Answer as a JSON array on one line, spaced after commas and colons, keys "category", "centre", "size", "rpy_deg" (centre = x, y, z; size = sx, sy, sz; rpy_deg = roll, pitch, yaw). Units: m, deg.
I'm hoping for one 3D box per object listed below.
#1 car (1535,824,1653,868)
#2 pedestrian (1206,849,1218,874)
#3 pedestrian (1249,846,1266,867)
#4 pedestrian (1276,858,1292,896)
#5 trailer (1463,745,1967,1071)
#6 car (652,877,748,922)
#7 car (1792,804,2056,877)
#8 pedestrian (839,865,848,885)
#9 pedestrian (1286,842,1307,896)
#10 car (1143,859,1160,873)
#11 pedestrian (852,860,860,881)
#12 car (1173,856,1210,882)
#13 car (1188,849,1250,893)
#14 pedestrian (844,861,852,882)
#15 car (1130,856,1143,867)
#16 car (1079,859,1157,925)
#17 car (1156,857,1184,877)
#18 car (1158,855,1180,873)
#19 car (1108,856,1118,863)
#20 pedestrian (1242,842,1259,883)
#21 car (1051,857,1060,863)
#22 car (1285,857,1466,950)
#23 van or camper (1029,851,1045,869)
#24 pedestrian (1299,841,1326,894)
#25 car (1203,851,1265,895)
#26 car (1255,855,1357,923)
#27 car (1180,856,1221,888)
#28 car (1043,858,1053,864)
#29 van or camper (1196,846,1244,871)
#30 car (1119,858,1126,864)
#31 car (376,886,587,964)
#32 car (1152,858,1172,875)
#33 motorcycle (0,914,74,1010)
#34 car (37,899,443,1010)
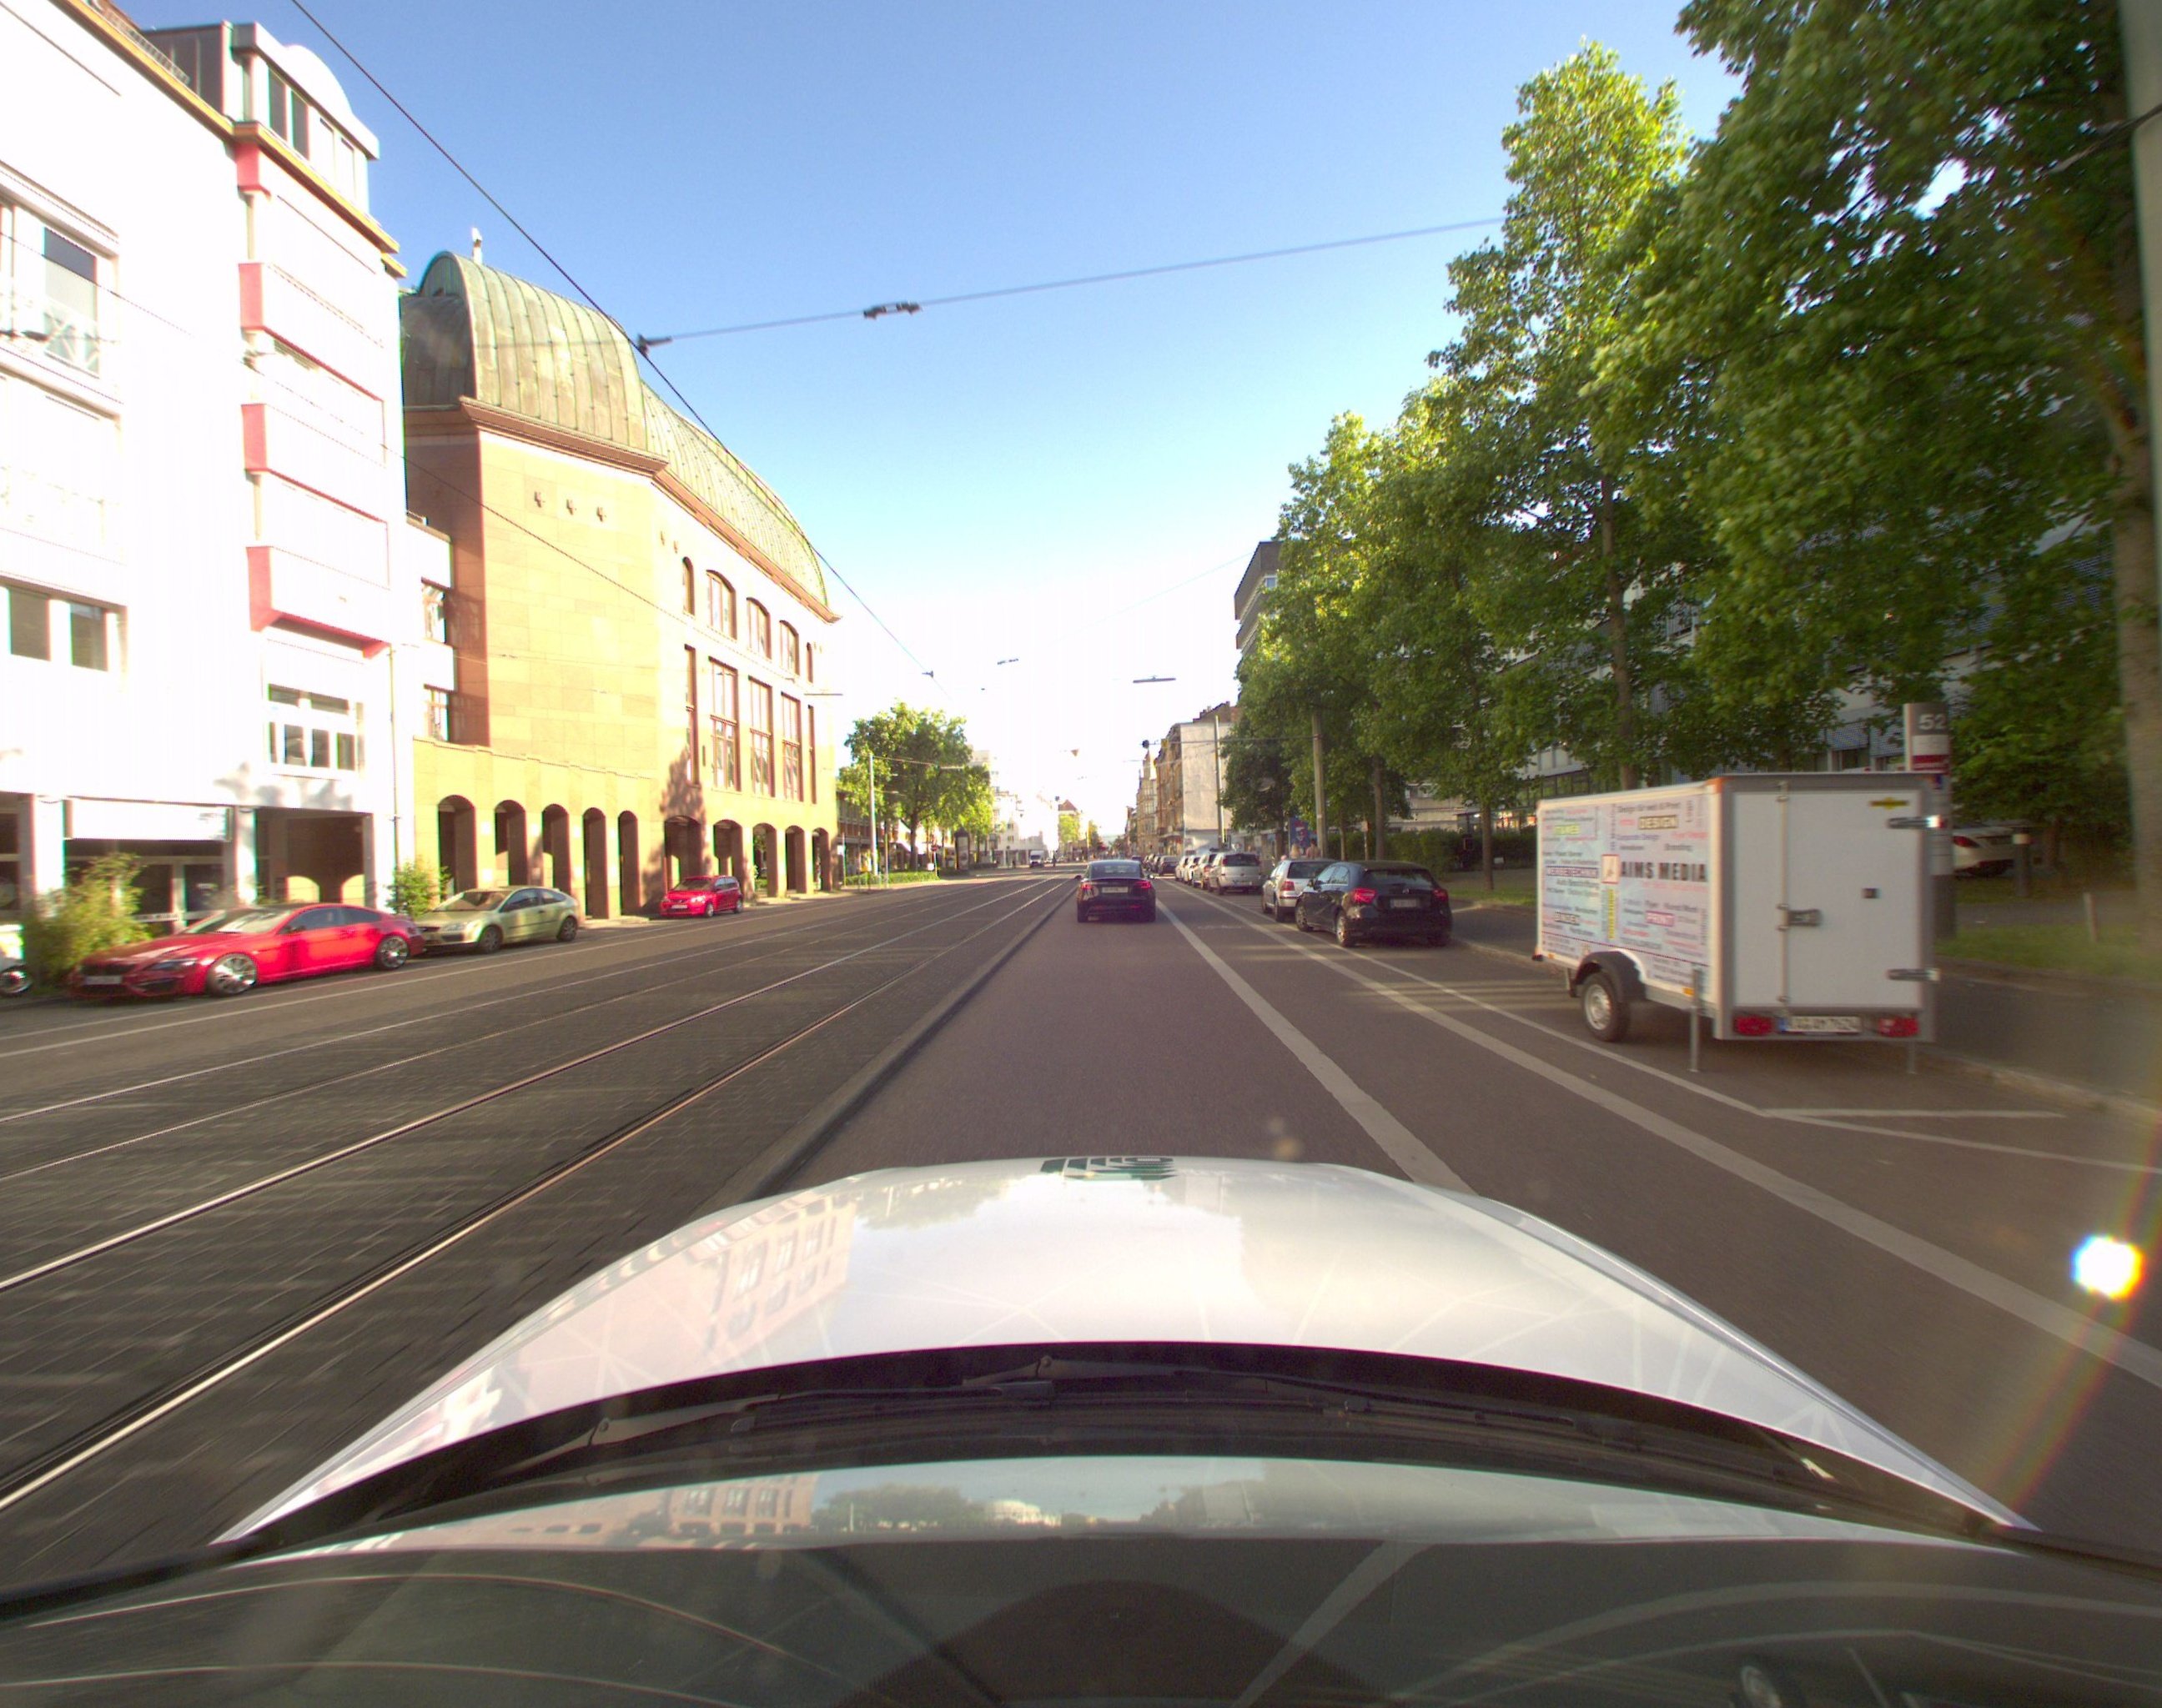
[{"category": "car", "centre": [19.637, -0.318, 31.416], "size": [1.784, 1.536, 4.308], "rpy_deg": [-2, 1, -1]}, {"category": "pedestrian", "centre": [9.679, 0.523, 60.088], "size": [0.719, 1.812, 0.889], "rpy_deg": [-2, -1, 2]}, {"category": "pedestrian", "centre": [14.858, 0.217, 68.580], "size": [1.142, 1.728, 1.050], "rpy_deg": [-2, 0, 26]}, {"category": "pedestrian", "centre": [7.612, 0.862, 30.563], "size": [0.453, 1.398, 0.423], "rpy_deg": [-4, -1, 6]}, {"category": "trailer", "centre": [5.043, 0.365, 7.259], "size": [1.654, 2.117, 3.846], "rpy_deg": [0, 0, 3]}, {"category": "car", "centre": [-13.549, 1.580, 29.209], "size": [1.653, 1.422, 3.621], "rpy_deg": [0, 0, 2]}, {"category": "car", "centre": [19.249, -0.258, 18.894], "size": [1.786, 1.464, 3.993], "rpy_deg": [-2, -1, -5]}, {"category": "pedestrian", "centre": [-22.608, 1.970, 77.423], "size": [0.624, 1.847, 0.673], "rpy_deg": [0, 0, -1]}, {"category": "pedestrian", "centre": [8.052, 0.564, 30.415], "size": [0.462, 1.954, 0.749], "rpy_deg": [-6, -1, 7]}, {"category": "car", "centre": [8.087, 1.379, 93.472], "size": [1.708, 1.472, 3.722], "rpy_deg": [-2, -1, 3]}, {"category": "pedestrian", "centre": [-19.666, 1.470, 71.262], "size": [0.545, 1.802, 0.587], "rpy_deg": [0, 0, -7]}, {"category": "car", "centre": [6.410, 0.875, 47.564], "size": [1.597, 1.443, 3.883], "rpy_deg": [0, -1, -1]}, {"category": "car", "centre": [6.123, 0.709, 36.707], "size": [1.919, 1.834, 4.710], "rpy_deg": [-1, 0, -1]}, {"category": "pedestrian", "centre": [-20.348, 1.542, 71.188], "size": [0.590, 1.872, 0.537], "rpy_deg": [0, 0, -7]}, {"category": "car", "centre": [7.564, 1.051, 111.324], "size": [1.587, 1.433, 3.689], "rpy_deg": [-2, -1, 3]}, {"category": "car", "centre": [0.851, 0.863, 19.874], "size": [1.713, 1.405, 3.710], "rpy_deg": [-1, 0, 1]}, {"category": "car", "centre": [6.610, 0.947, 60.894], "size": [1.704, 1.457, 4.552], "rpy_deg": [-1, -1, 2]}, {"category": "car", "centre": [7.196, 0.830, 67.021], "size": [1.572, 1.447, 3.311], "rpy_deg": [-1, -1, 3]}, {"category": "car", "centre": [7.343, 1.193, 185.363], "size": [1.988, 1.525, 3.997], "rpy_deg": [-1, -1, -2]}, {"category": "pedestrian", "centre": [7.597, 0.384, 36.499], "size": [0.608, 1.808, 0.603], "rpy_deg": [-3, -1, 6]}, {"category": "car", "centre": [-6.855, 1.705, 219.026], "size": [1.986, 1.495, 4.002], "rpy_deg": [-2, -1, 2]}, {"category": "car", "centre": [5.131, 0.785, 14.843], "size": [1.796, 1.435, 4.323], "rpy_deg": [1, -1, 1]}, {"category": "van or camper", "centre": [-6.997, 0.964, 130.033], "size": [2.133, 2.654, 6.879], "rpy_deg": [-2, -1, 0]}, {"category": "pedestrian", "centre": [8.624, 0.503, 30.351], "size": [0.665, 1.897, 0.749], "rpy_deg": [-6, -1, 7]}, {"category": "car", "centre": [5.926, 0.704, 31.865], "size": [1.708, 1.590, 4.066], "rpy_deg": [0, 0, 1]}, {"category": "car", "centre": [5.349, 0.757, 19.853], "size": [1.740, 1.443, 4.323], "rpy_deg": [-1, 0, 7]}, {"category": "car", "centre": [6.148, 0.875, 42.306], "size": [1.536, 1.570, 4.443], "rpy_deg": [-1, 0, 0]}, {"category": "car", "centre": [-7.781, 1.606, 194.190], "size": [1.986, 1.368, 4.002], "rpy_deg": [-2, -1, 2]}, {"category": "van or camper", "centre": [14.061, 0.440, 82.642], "size": [4.621, 2.136, 1.990], "rpy_deg": [-5, -1, 5]}, {"category": "car", "centre": [11.351, 1.815, 222.331], "size": [1.838, 1.592, 4.003], "rpy_deg": [-3, 0, 3]}, {"category": "car", "centre": [-13.771, 1.564, 19.090], "size": [1.662, 1.468, 4.292], "rpy_deg": [0, 0, 2]}, {"category": "car", "centre": [7.209, 1.094, 72.383], "size": [1.456, 1.432, 3.814], "rpy_deg": [-1, -1, 1]}, {"category": "motorcycle", "centre": [-15.594, 1.564, 11.347], "size": [0.517, 1.297, 2.082], "rpy_deg": [0, 0, 1]}, {"category": "car", "centre": [-13.961, 1.573, 14.095], "size": [1.953, 1.325, 4.821], "rpy_deg": [0, 0, 1]}]
